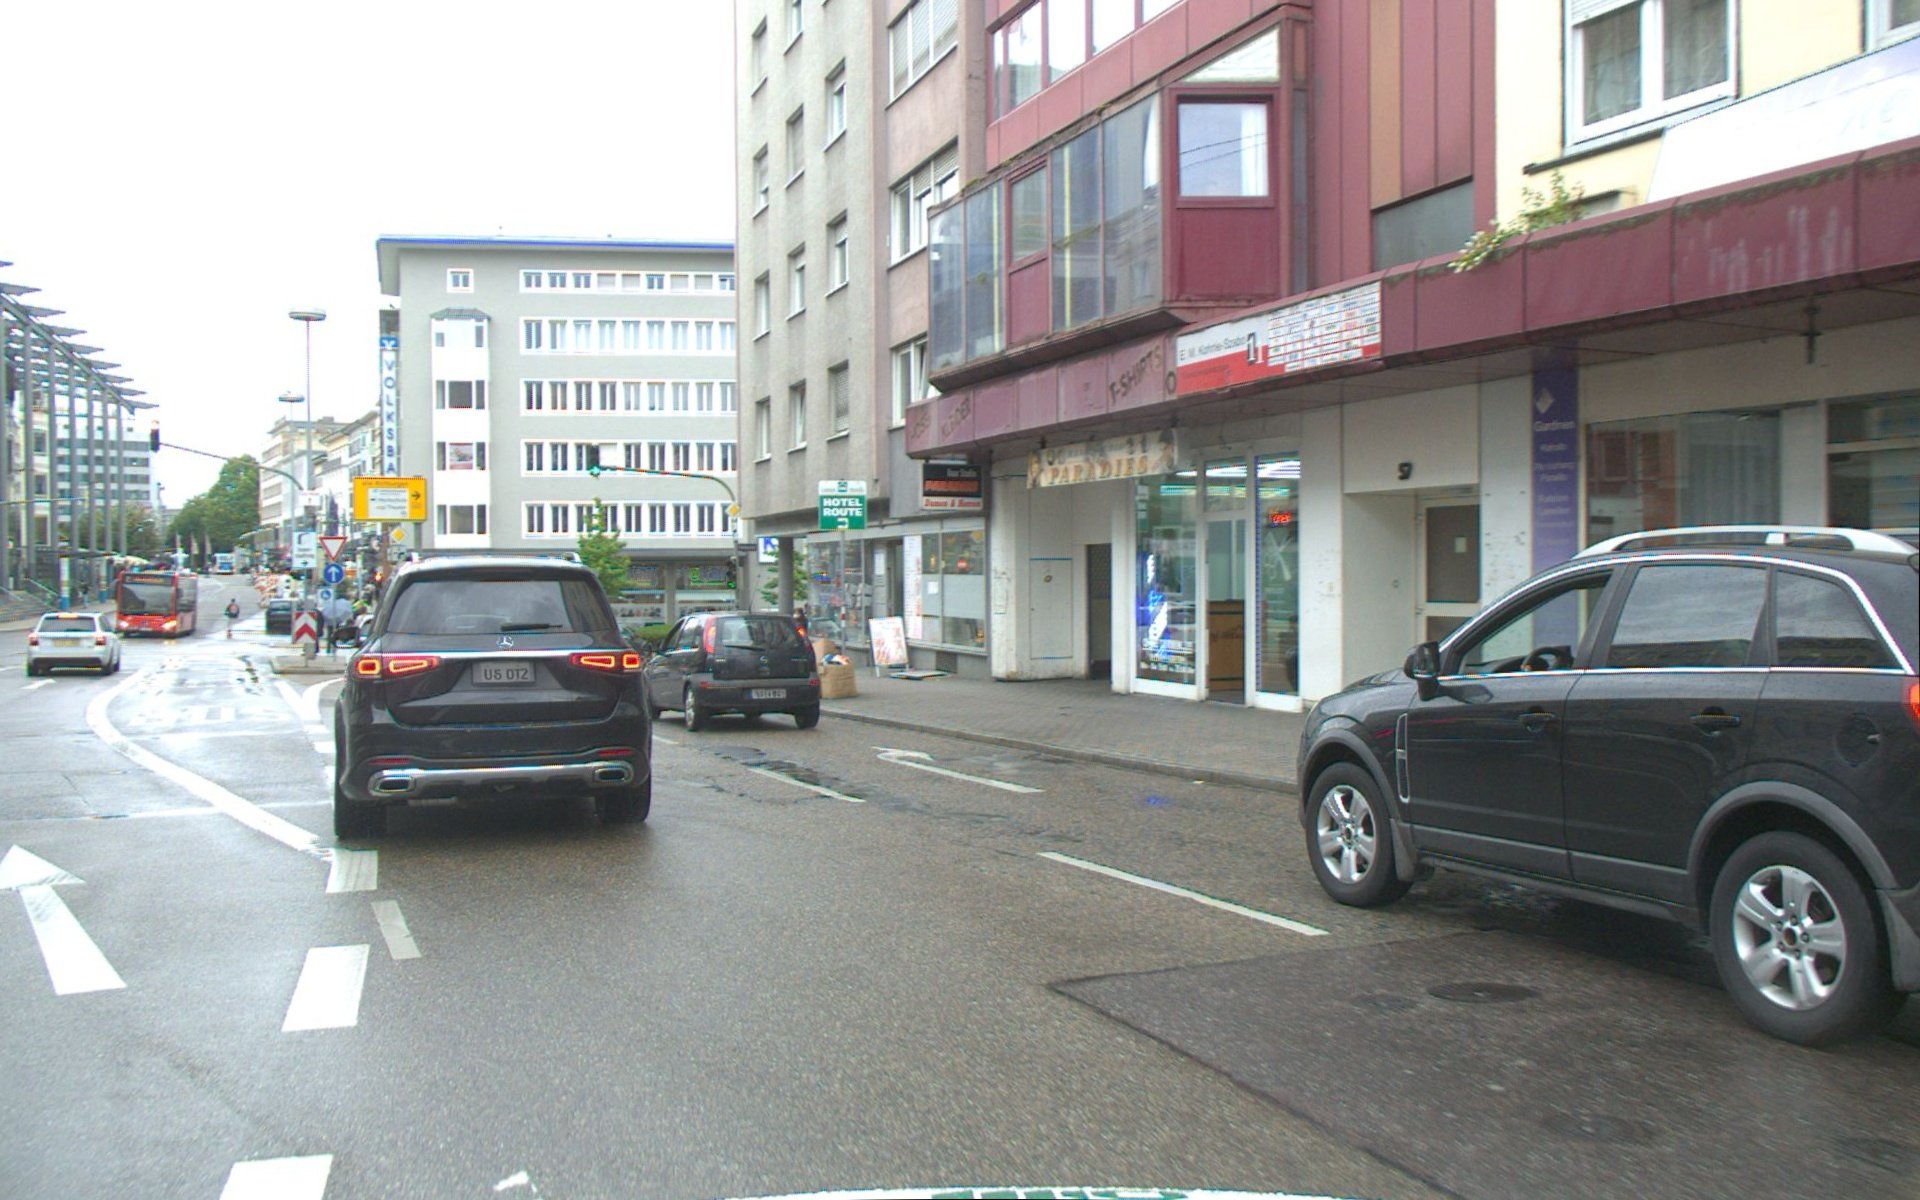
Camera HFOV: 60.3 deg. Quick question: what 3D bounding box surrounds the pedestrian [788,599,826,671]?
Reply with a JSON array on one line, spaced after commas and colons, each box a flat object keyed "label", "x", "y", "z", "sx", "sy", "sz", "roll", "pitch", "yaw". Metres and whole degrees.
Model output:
[{"label": "pedestrian", "x": -4.192, "y": 0.951, "z": 45.295, "sx": 0.823, "sy": 1.897, "sz": 0.655, "roll": -3, "pitch": -3, "yaw": -19}]

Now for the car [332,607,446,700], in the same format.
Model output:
[{"label": "car", "x": -11.142, "y": 1.008, "z": 32.484, "sx": 1.919, "sy": 1.601, "sz": 3.982, "roll": 2, "pitch": 1, "yaw": -17}]

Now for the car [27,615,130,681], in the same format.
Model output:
[{"label": "car", "x": -21.158, "y": 1.107, "z": 39.827, "sx": 1.768, "sy": 1.440, "sz": 4.598, "roll": 0, "pitch": 0, "yaw": -23}]

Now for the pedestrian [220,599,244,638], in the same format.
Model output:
[{"label": "pedestrian", "x": -36.033, "y": 0.901, "z": 81.920, "sx": 0.939, "sy": 1.920, "sz": 0.806, "roll": 1, "pitch": -1, "yaw": -16}]

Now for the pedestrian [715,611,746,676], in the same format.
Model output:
[{"label": "pedestrian", "x": -6.205, "y": 1.181, "z": 44.676, "sx": 0.532, "sy": 1.665, "sz": 0.832, "roll": -4, "pitch": -3, "yaw": -23}]

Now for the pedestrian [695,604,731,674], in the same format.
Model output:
[{"label": "pedestrian", "x": -6.246, "y": 0.990, "z": 41.837, "sx": 0.612, "sy": 1.722, "sz": 0.782, "roll": -3, "pitch": -2, "yaw": 13}]

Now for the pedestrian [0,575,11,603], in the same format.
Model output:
[{"label": "pedestrian", "x": -59.814, "y": -0.683, "z": 103.184, "sx": 1.027, "sy": 1.743, "sz": 0.998, "roll": 1, "pitch": -1, "yaw": -28}]

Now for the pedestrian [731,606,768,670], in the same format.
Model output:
[{"label": "pedestrian", "x": -5.613, "y": 1.014, "z": 44.150, "sx": 0.727, "sy": 1.663, "sz": 0.596, "roll": -4, "pitch": -4, "yaw": 19}]

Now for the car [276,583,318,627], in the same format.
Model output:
[{"label": "car", "x": -47.050, "y": 0.375, "z": 117.319, "sx": 2.413, "sy": 3.009, "sz": 6.105, "roll": 1, "pitch": -1, "yaw": -24}]

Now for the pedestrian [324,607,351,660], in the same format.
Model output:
[{"label": "pedestrian", "x": -20.490, "y": 1.096, "z": 54.472, "sx": 0.744, "sy": 1.722, "sz": 0.690, "roll": 1, "pitch": -3, "yaw": -18}]

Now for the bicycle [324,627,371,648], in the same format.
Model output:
[{"label": "bicycle", "x": -30.579, "y": 1.851, "z": 82.539, "sx": 2.098, "sy": 1.010, "sz": 0.693, "roll": 0, "pitch": -1, "yaw": -9}]

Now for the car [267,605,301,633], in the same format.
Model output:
[{"label": "car", "x": -39.594, "y": 1.112, "z": 96.951, "sx": 1.712, "sy": 1.554, "sz": 3.974, "roll": 1, "pitch": -1, "yaw": -21}]

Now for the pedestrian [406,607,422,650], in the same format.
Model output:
[{"label": "pedestrian", "x": -21.797, "y": 1.126, "z": 66.012, "sx": 0.560, "sy": 1.698, "sz": 0.499, "roll": 0, "pitch": -1, "yaw": -16}]

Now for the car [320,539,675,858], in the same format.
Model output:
[{"label": "car", "x": -3.542, "y": 0.547, "z": 12.171, "sx": 2.057, "sy": 1.849, "sz": 4.764, "roll": 0, "pitch": 0, "yaw": -20}]

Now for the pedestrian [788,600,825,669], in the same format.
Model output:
[{"label": "pedestrian", "x": -4.054, "y": 0.911, "z": 43.640, "sx": 0.822, "sy": 1.753, "sz": 0.615, "roll": -2, "pitch": -3, "yaw": -15}]

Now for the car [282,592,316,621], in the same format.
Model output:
[{"label": "car", "x": -44.506, "y": 0.452, "z": 111.321, "sx": 1.837, "sy": 1.858, "sz": 4.071, "roll": 1, "pitch": -1, "yaw": -25}]

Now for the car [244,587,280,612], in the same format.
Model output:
[{"label": "car", "x": -52.980, "y": -0.001, "z": 125.572, "sx": 2.390, "sy": 1.811, "sz": 5.118, "roll": 1, "pitch": -1, "yaw": -23}]

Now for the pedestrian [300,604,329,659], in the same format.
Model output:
[{"label": "pedestrian", "x": -20.455, "y": 1.006, "z": 52.454, "sx": 0.771, "sy": 1.741, "sz": 0.703, "roll": 1, "pitch": -2, "yaw": -18}]

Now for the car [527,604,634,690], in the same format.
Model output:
[{"label": "car", "x": -8.114, "y": 0.954, "z": 35.131, "sx": 1.919, "sy": 1.601, "sz": 3.981, "roll": 2, "pitch": 1, "yaw": -17}]

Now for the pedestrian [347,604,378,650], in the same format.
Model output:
[{"label": "pedestrian", "x": -23.714, "y": 1.064, "z": 65.673, "sx": 0.998, "sy": 1.819, "sz": 0.845, "roll": 2, "pitch": -1, "yaw": -29}]

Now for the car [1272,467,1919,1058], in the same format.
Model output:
[{"label": "car", "x": 3.254, "y": 0.488, "z": 6.951, "sx": 1.880, "sy": 1.817, "sz": 4.275, "roll": 0, "pitch": 0, "yaw": -21}]

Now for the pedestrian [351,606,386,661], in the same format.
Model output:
[{"label": "pedestrian", "x": -18.682, "y": 1.046, "z": 52.278, "sx": 0.963, "sy": 1.701, "sz": 0.911, "roll": 1, "pitch": -1, "yaw": -17}]

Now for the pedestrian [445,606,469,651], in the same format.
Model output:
[{"label": "pedestrian", "x": -20.609, "y": 1.176, "z": 67.726, "sx": 0.820, "sy": 1.810, "sz": 0.612, "roll": 2, "pitch": -1, "yaw": -29}]

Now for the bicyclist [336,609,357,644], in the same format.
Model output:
[{"label": "bicyclist", "x": -30.614, "y": 1.316, "z": 82.562, "sx": 0.828, "sy": 1.734, "sz": 0.622, "roll": -1, "pitch": -1, "yaw": -9}]

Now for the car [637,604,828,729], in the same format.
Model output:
[{"label": "car", "x": -2.993, "y": 0.819, "z": 21.146, "sx": 1.691, "sy": 1.445, "sz": 3.748, "roll": 1, "pitch": -2, "yaw": -20}]

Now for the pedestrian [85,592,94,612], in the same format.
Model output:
[{"label": "pedestrian", "x": -59.425, "y": 0.146, "z": 112.894, "sx": 0.504, "sy": 1.364, "sz": 0.416, "roll": 2, "pitch": -1, "yaw": -27}]

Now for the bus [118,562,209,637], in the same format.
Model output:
[{"label": "bus", "x": -40.376, "y": 0.078, "z": 84.354, "sx": 2.879, "sy": 3.379, "sz": 18.354, "roll": 1, "pitch": -1, "yaw": -22}]
